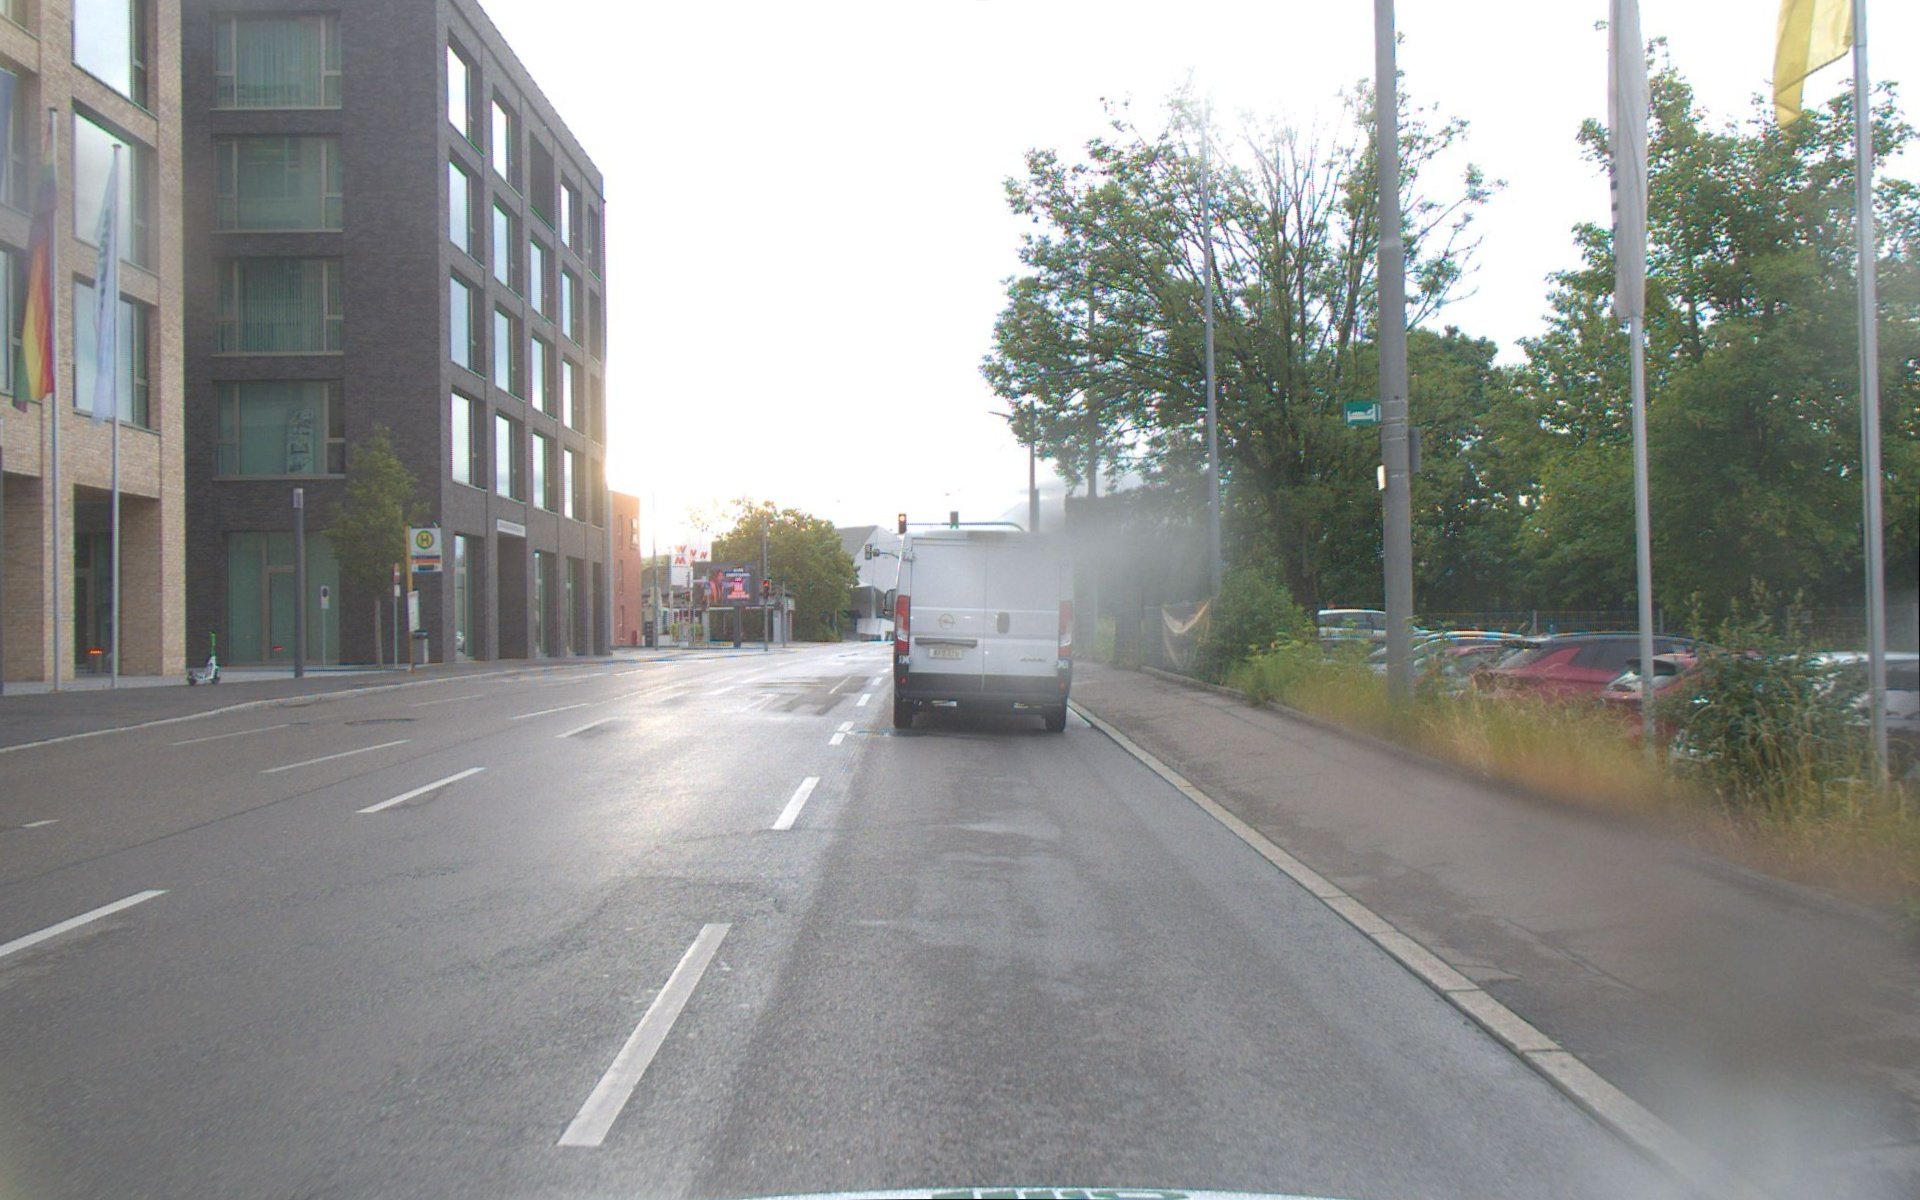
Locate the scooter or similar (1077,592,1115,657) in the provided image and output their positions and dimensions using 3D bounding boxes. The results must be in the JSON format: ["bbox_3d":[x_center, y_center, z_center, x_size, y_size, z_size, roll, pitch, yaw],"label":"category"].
[{"bbox_3d":[3.430,0.603,41.829,0.428,1.591,1.264,0,0,-22],"label":"scooter or similar"}]

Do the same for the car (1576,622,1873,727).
[{"bbox_3d":[12.017,1.140,26.131,3.910,1.548,1.801,0,0,-6],"label":"car"}]

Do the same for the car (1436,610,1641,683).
[{"bbox_3d":[12.803,1.016,36.734,3.910,1.548,1.801,0,0,-6],"label":"car"}]

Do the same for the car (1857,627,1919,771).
[{"bbox_3d":[12.255,1.089,18.497,3.615,1.545,1.558,0,0,-1],"label":"car"}]

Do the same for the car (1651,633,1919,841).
[{"bbox_3d":[7.790,1.048,13.342,3.687,1.520,1.811,0,0,1],"label":"car"}]

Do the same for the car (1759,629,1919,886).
[{"bbox_3d":[7.508,0.945,10.706,3.784,1.479,1.915,0,0,-5],"label":"car"}]

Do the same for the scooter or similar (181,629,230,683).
[{"bbox_3d":[-15.298,1.128,33.563,0.343,1.090,1.428,0,-1,0],"label":"scooter or similar"}]

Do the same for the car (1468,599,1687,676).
[{"bbox_3d":[12.792,0.755,34.382,3.910,1.548,1.801,0,0,-6],"label":"car"}]

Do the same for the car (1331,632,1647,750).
[{"bbox_3d":[7.412,1.253,23.424,3.906,1.548,1.803,0,0,-1],"label":"car"}]

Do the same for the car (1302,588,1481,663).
[{"bbox_3d":[10.838,0.626,41.653,3.911,1.548,1.801,-4,1,-6],"label":"car"}]

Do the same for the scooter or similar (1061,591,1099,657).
[{"bbox_3d":[3.023,0.592,41.645,0.428,1.615,1.264,0,0,-23],"label":"scooter or similar"}]

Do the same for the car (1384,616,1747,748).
[{"bbox_3d":[7.505,0.990,20.766,3.906,1.548,1.803,0,0,-1],"label":"car"}]

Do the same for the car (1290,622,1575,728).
[{"bbox_3d":[7.327,1.135,25.835,3.910,1.548,1.801,0,0,-6],"label":"car"}]

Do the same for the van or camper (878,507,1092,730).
[{"bbox_3d":[0.263,0.170,20.374,2.292,2.398,5.199,0,1,0],"label":"van or camper"}]

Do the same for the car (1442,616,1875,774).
[{"bbox_3d":[7.595,1.012,18.258,4.045,1.616,1.760,0,1,-1],"label":"car"}]

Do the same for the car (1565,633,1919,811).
[{"bbox_3d":[8.004,1.107,15.671,3.906,1.534,1.760,0,1,-1],"label":"car"}]
